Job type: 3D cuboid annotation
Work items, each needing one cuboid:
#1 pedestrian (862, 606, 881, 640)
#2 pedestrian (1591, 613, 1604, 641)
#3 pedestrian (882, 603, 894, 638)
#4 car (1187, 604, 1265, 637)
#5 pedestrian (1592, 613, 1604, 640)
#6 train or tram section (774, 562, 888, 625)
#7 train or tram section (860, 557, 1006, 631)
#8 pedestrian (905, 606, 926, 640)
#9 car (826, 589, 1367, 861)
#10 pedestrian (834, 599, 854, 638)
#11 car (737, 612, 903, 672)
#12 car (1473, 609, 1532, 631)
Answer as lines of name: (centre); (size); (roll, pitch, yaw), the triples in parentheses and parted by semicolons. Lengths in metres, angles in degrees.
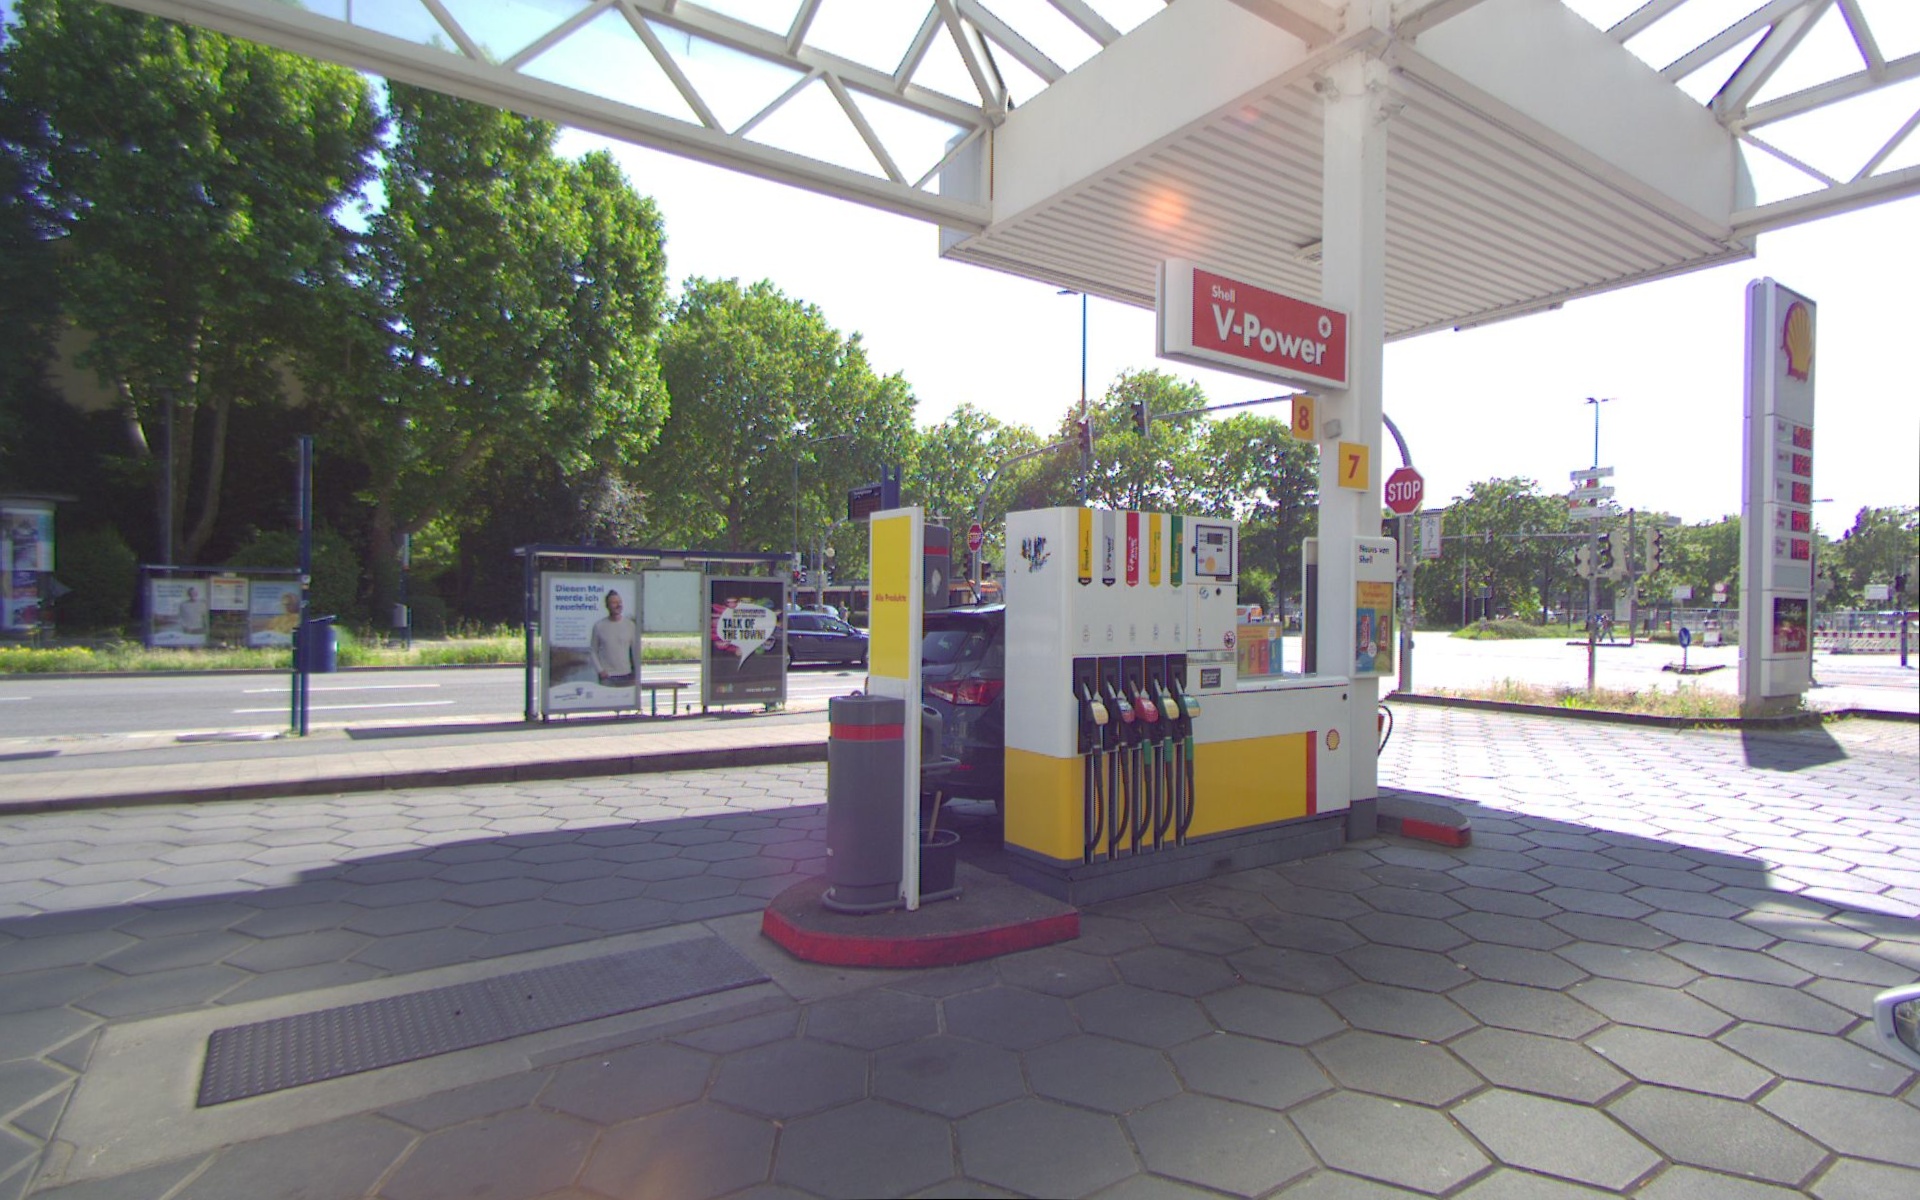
pedestrian: (-4.491, 1.169, 50.843); (0.777, 1.696, 0.556); (1, -2, -34)
pedestrian: (35.103, 1.478, 55.328); (0.555, 1.488, 0.512); (1, 0, 32)
pedestrian: (-4.191, 1.218, 58.307); (0.691, 2.013, 0.741); (0, -2, -4)
car: (16.901, 1.364, 63.970); (4.384, 2.040, 1.989); (-2, -3, 43)
pedestrian: (35.637, 1.501, 56.134); (0.555, 1.488, 0.512); (1, 0, 32)
train or tram section: (-10.727, -0.464, 80.954); (2.304, 4.549, 15.775); (1, -1, -34)
train or tram section: (-2.231, -0.347, 68.236); (2.304, 4.549, 14.802); (1, -1, -34)
pedestrian: (-2.284, 1.194, 51.467); (0.864, 1.746, 0.679); (2, -2, -42)
car: (1.151, 0.775, 7.614); (3.960, 1.552, 1.732); (2, -2, -35)
pedestrian: (-5.670, 0.926, 49.289); (0.757, 1.881, 0.724); (0, -2, 16)
car: (-3.634, 1.057, 26.237); (3.961, 1.385, 1.669); (1, 2, -35)
car: (46.422, 1.756, 86.039); (1.976, 1.839, 3.970); (1, -2, -29)
